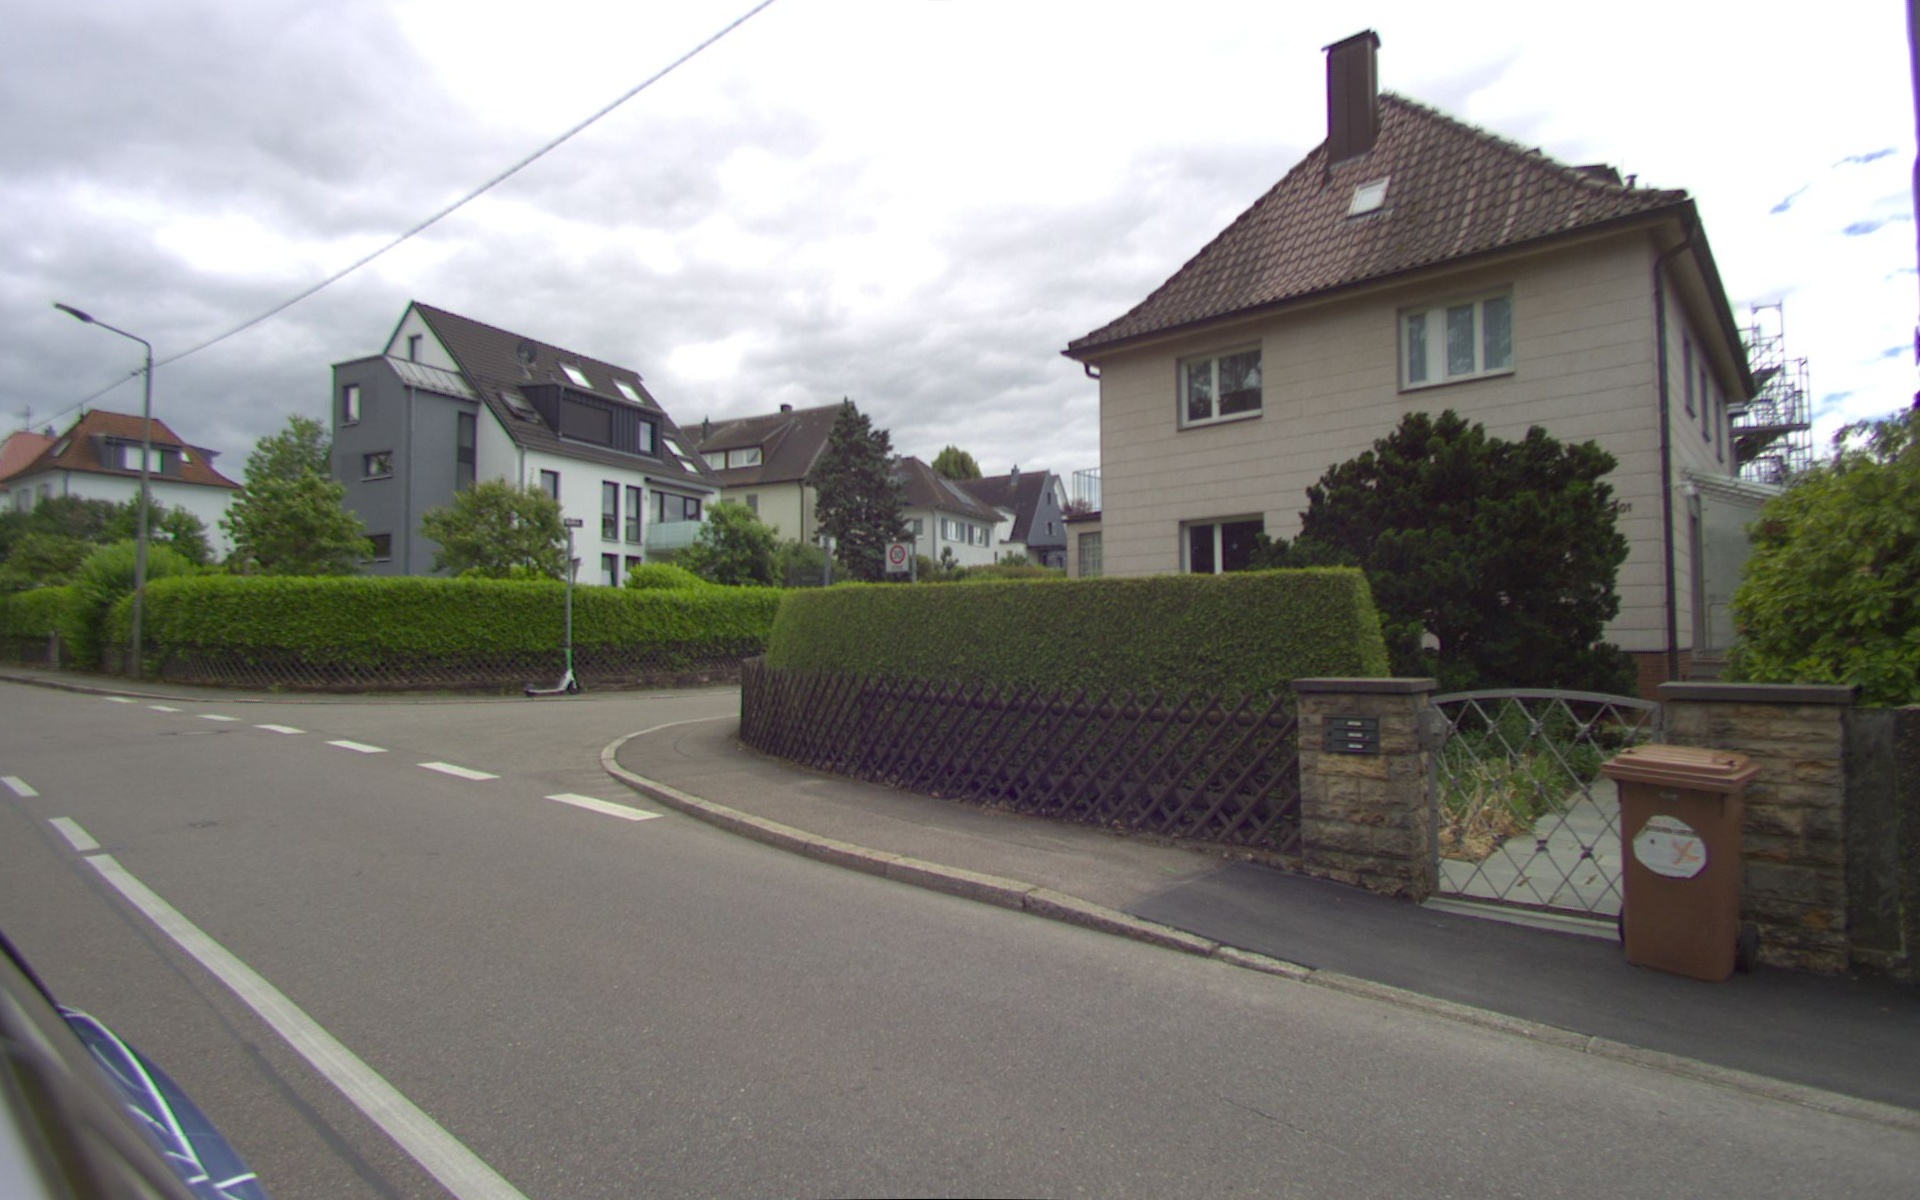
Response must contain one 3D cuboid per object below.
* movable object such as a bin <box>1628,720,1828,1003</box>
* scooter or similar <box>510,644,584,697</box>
[{"bbox_3d":[3.183,1.019,4.191,0.572,0.961,0.680,-1,-3,44],"label":"movable object such as a bin"},{"bbox_3d":[-9.170,1.549,22.501,0.455,1.109,1.435,2,0,42],"label":"scooter or similar"}]
